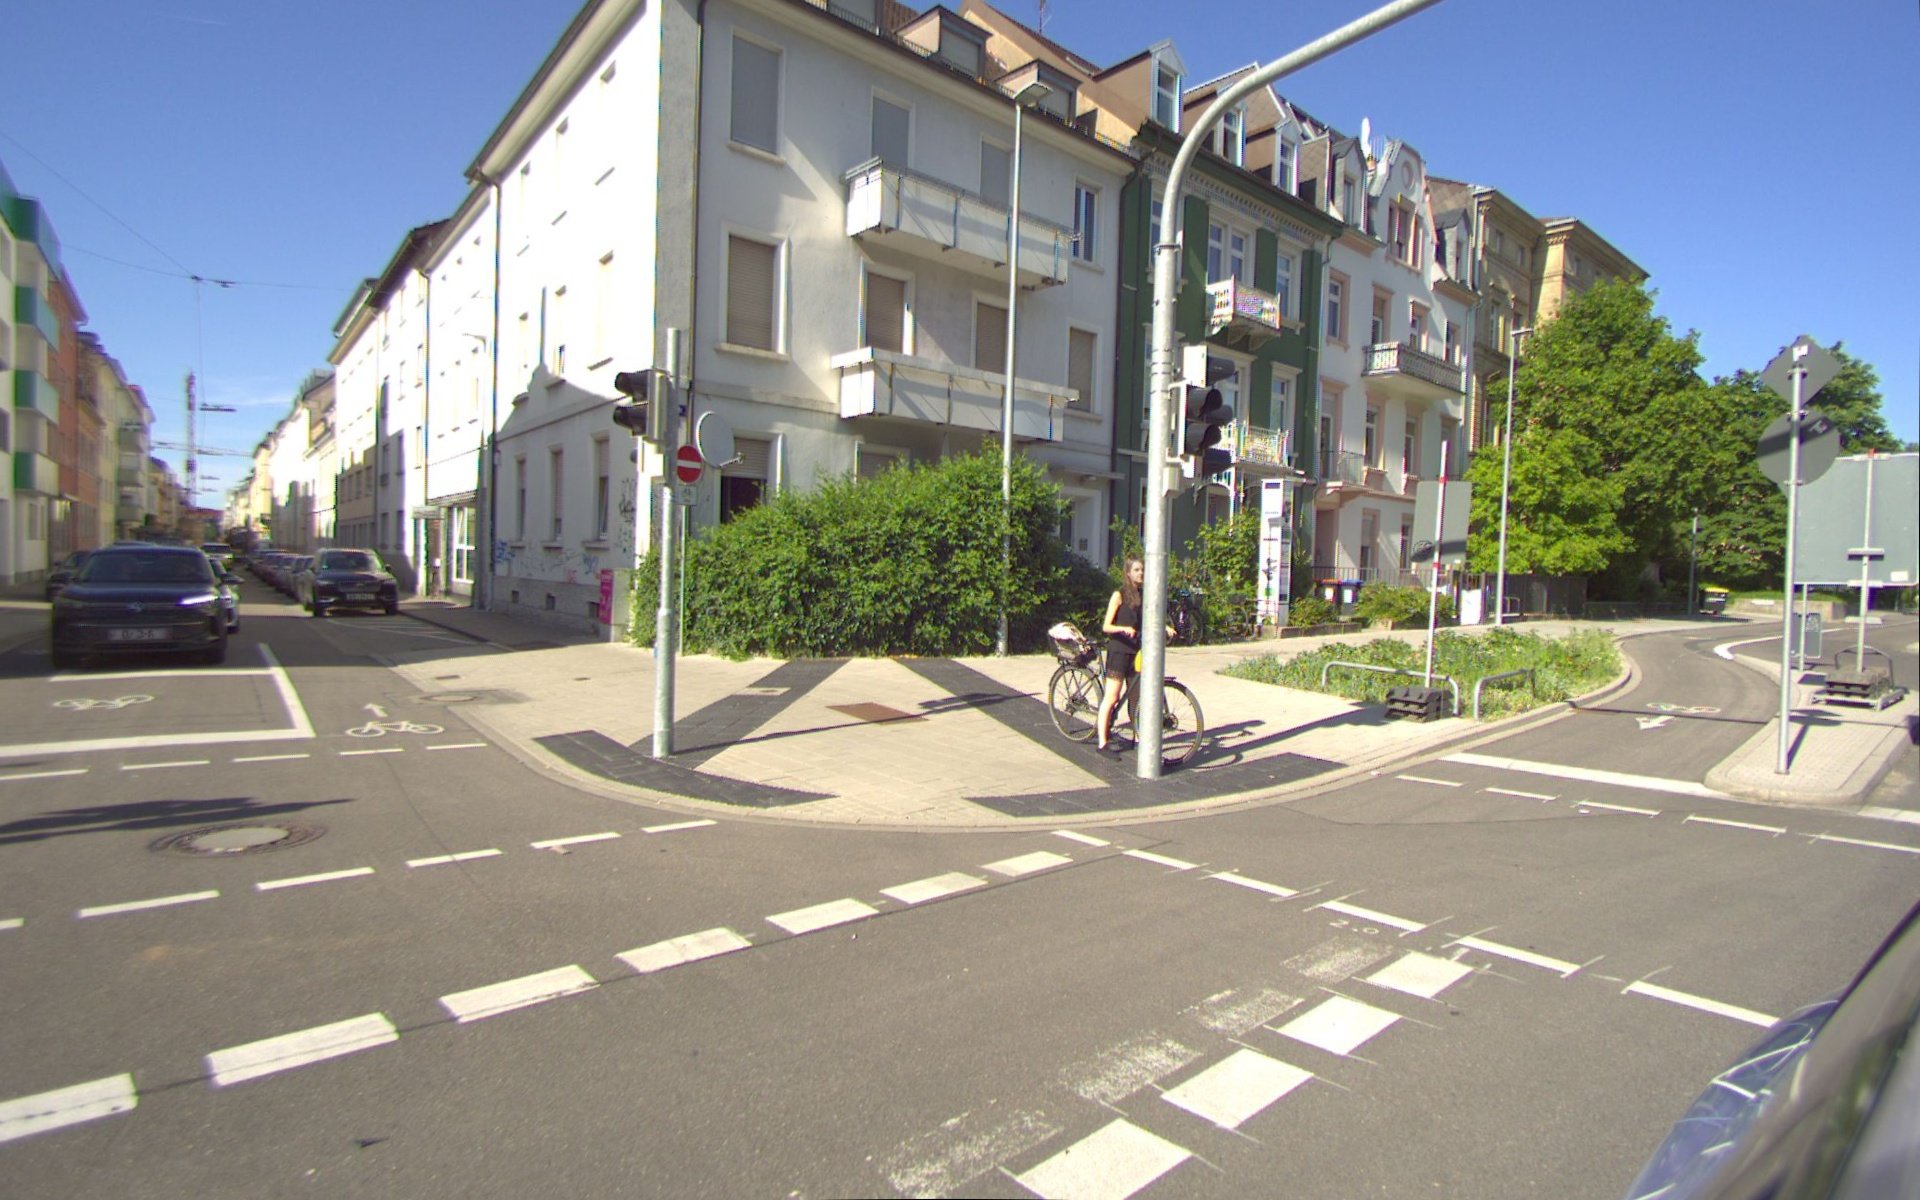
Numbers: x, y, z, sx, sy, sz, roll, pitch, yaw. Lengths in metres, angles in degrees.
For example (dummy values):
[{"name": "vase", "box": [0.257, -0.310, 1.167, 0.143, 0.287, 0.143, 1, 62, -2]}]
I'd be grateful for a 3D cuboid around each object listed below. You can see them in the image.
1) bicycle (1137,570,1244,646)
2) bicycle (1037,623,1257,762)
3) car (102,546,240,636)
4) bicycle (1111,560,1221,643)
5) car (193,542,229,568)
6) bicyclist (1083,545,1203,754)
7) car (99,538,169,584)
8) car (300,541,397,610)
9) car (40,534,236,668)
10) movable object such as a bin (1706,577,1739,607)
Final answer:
[{"name": "bicycle", "box": [4.897, 0.135, 21.643, 0.627, 1.503, 2.258, 1, 2, -43]}, {"name": "bicycle", "box": [1.602, 0.754, 8.973, 0.594, 1.038, 1.965, 1, 0, -42]}, {"name": "car", "box": [-15.446, -0.232, 20.007, 1.962, 1.584, 4.125, 0, 2, -36]}, {"name": "bicycle", "box": [3.892, 0.036, 18.954, 2.449, 1.462, 0.709, 1, 0, -43]}, {"name": "car", "box": [-52.654, -3.148, 71.175, 1.963, 1.734, 4.000, 0, 2, -36]}, {"name": "bicyclist", "box": [1.607, 0.401, 8.891, 0.843, 1.729, 0.604, 0, 2, -42]}, {"name": "car", "box": [-33.196, -1.555, 40.777, 1.963, 1.734, 4.000, 0, 2, -36]}, {"name": "car", "box": [-16.621, -0.675, 27.425, 1.962, 1.735, 4.001, 0, 2, -35]}, {"name": "car", "box": [-11.747, -0.059, 14.723, 1.948, 1.639, 4.263, 0, 2, -36]}, {"name": "movable object such as a bin", "box": [38.049, -0.392, 50.493, 0.964, 1.415, 1.276, 4, 2, 25]}]
